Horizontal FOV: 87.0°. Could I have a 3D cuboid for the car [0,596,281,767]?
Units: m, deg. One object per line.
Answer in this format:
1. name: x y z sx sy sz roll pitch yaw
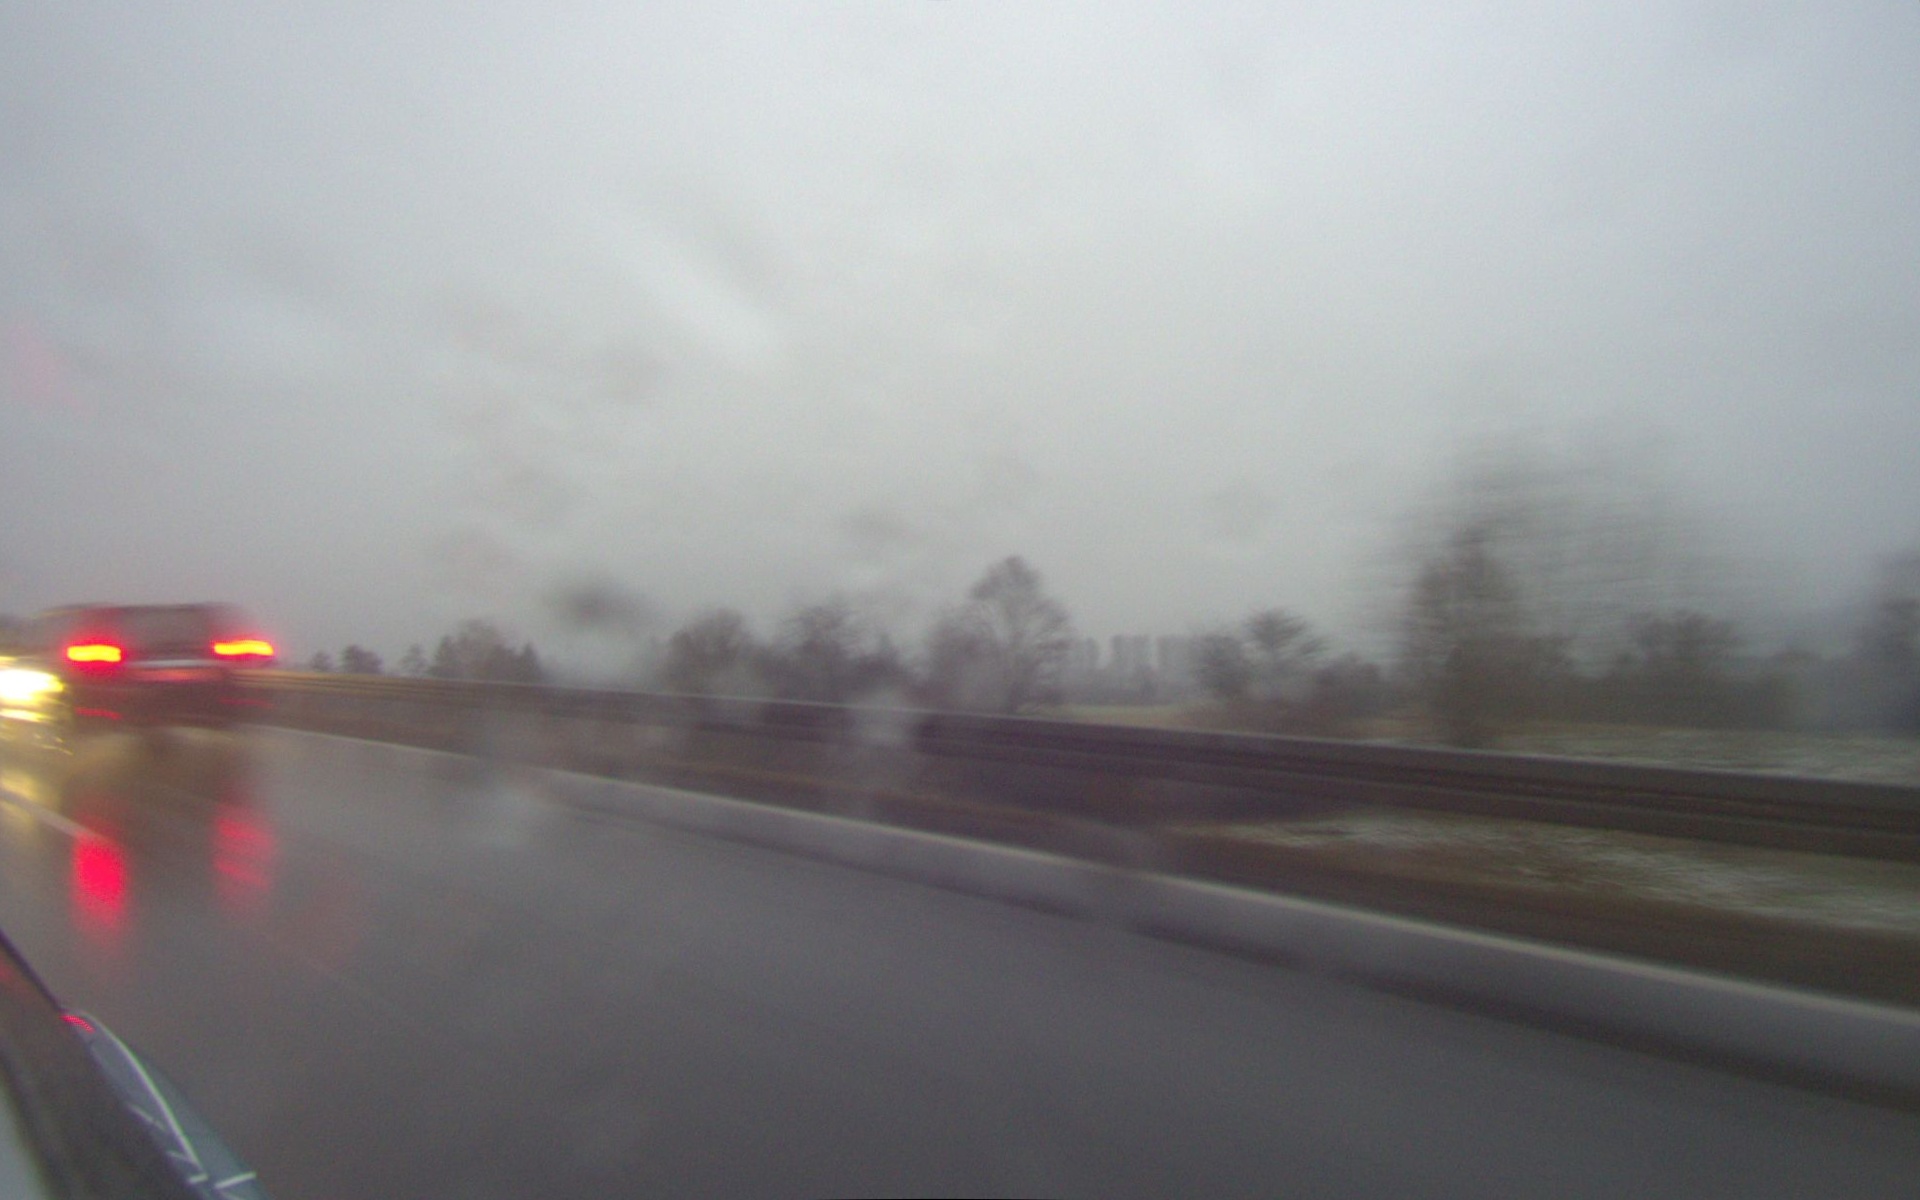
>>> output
1. car: -10.092 0.864 12.108 4.869 1.647 1.990 -2 -2 40
